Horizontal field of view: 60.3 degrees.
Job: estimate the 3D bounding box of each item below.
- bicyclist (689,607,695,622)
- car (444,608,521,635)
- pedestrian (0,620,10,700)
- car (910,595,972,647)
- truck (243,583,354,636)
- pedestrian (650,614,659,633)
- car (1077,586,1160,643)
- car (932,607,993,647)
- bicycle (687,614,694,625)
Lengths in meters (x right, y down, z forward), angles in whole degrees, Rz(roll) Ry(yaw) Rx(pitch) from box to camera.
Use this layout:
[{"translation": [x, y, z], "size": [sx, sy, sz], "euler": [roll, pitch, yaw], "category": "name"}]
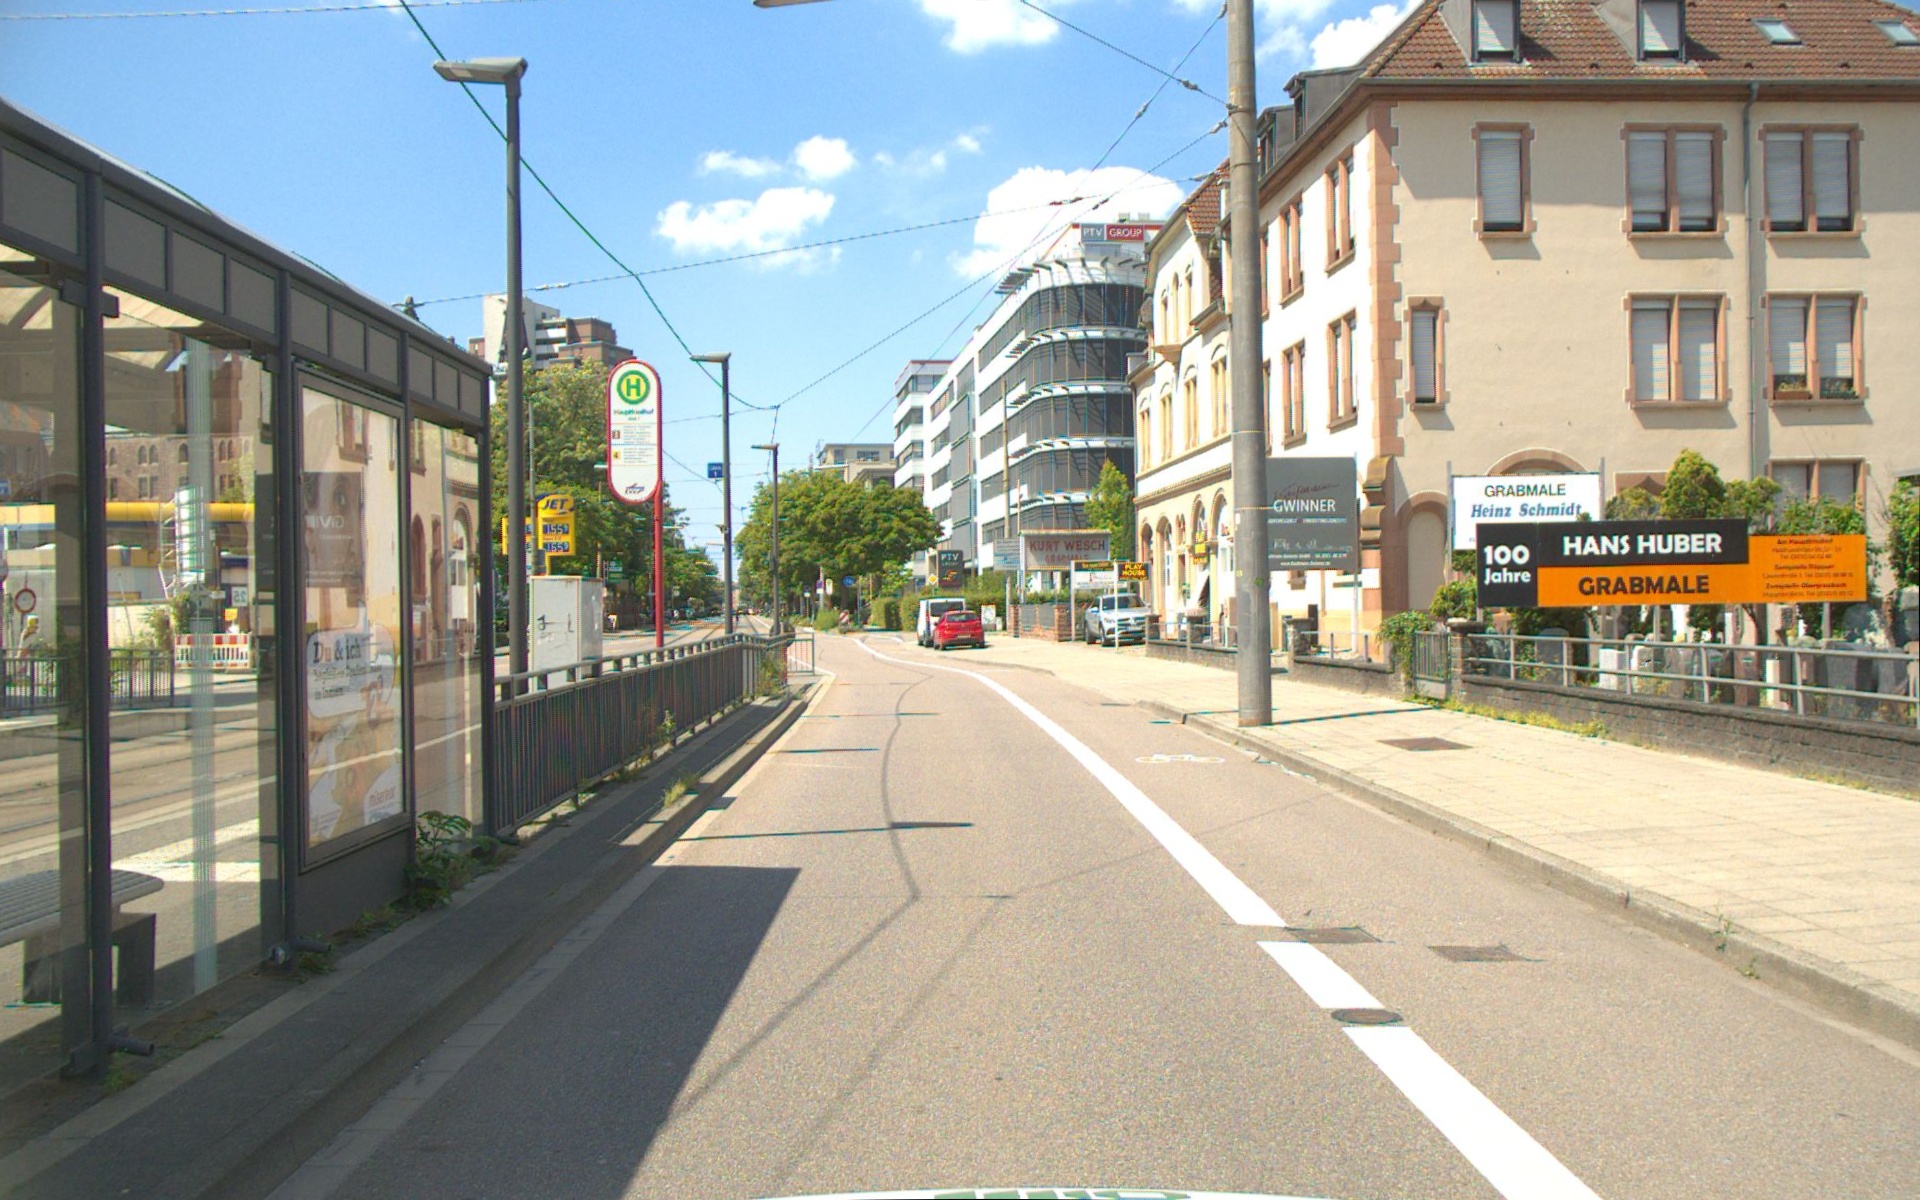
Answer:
[{"translation": [-32.057, 1.729, 198.046], "size": [0.630, 1.709, 0.813], "euler": [-1, -1, -9], "category": "bicyclist"}, {"translation": [-29.815, 1.331, 103.308], "size": [1.960, 1.618, 4.316], "euler": [-1, 0, 36], "category": "car"}, {"translation": [-19.738, 1.203, 33.190], "size": [0.745, 1.624, 0.999], "euler": [3, -1, -5], "category": "pedestrian"}, {"translation": [-0.860, 0.874, 70.590], "size": [1.956, 2.026, 5.505], "euler": [-3, 0, -7], "category": "car"}, {"translation": [-32.363, 0.473, 81.094], "size": [1.953, 2.542, 5.202], "euler": [-1, -1, 23], "category": "truck"}, {"translation": [-28.864, 2.230, 156.352], "size": [0.799, 1.801, 0.923], "euler": [0, -1, -8], "category": "pedestrian"}, {"translation": [5.152, 0.466, 54.340], "size": [1.841, 1.652, 4.634], "euler": [-4, 0, -5], "category": "car"}, {"translation": [0.057, 1.025, 64.006], "size": [1.955, 1.467, 4.012], "euler": [-1, 0, -6], "category": "car"}, {"translation": [-32.247, 2.323, 198.190], "size": [0.688, 1.225, 2.236], "euler": [-3, 0, -8], "category": "bicycle"}]
